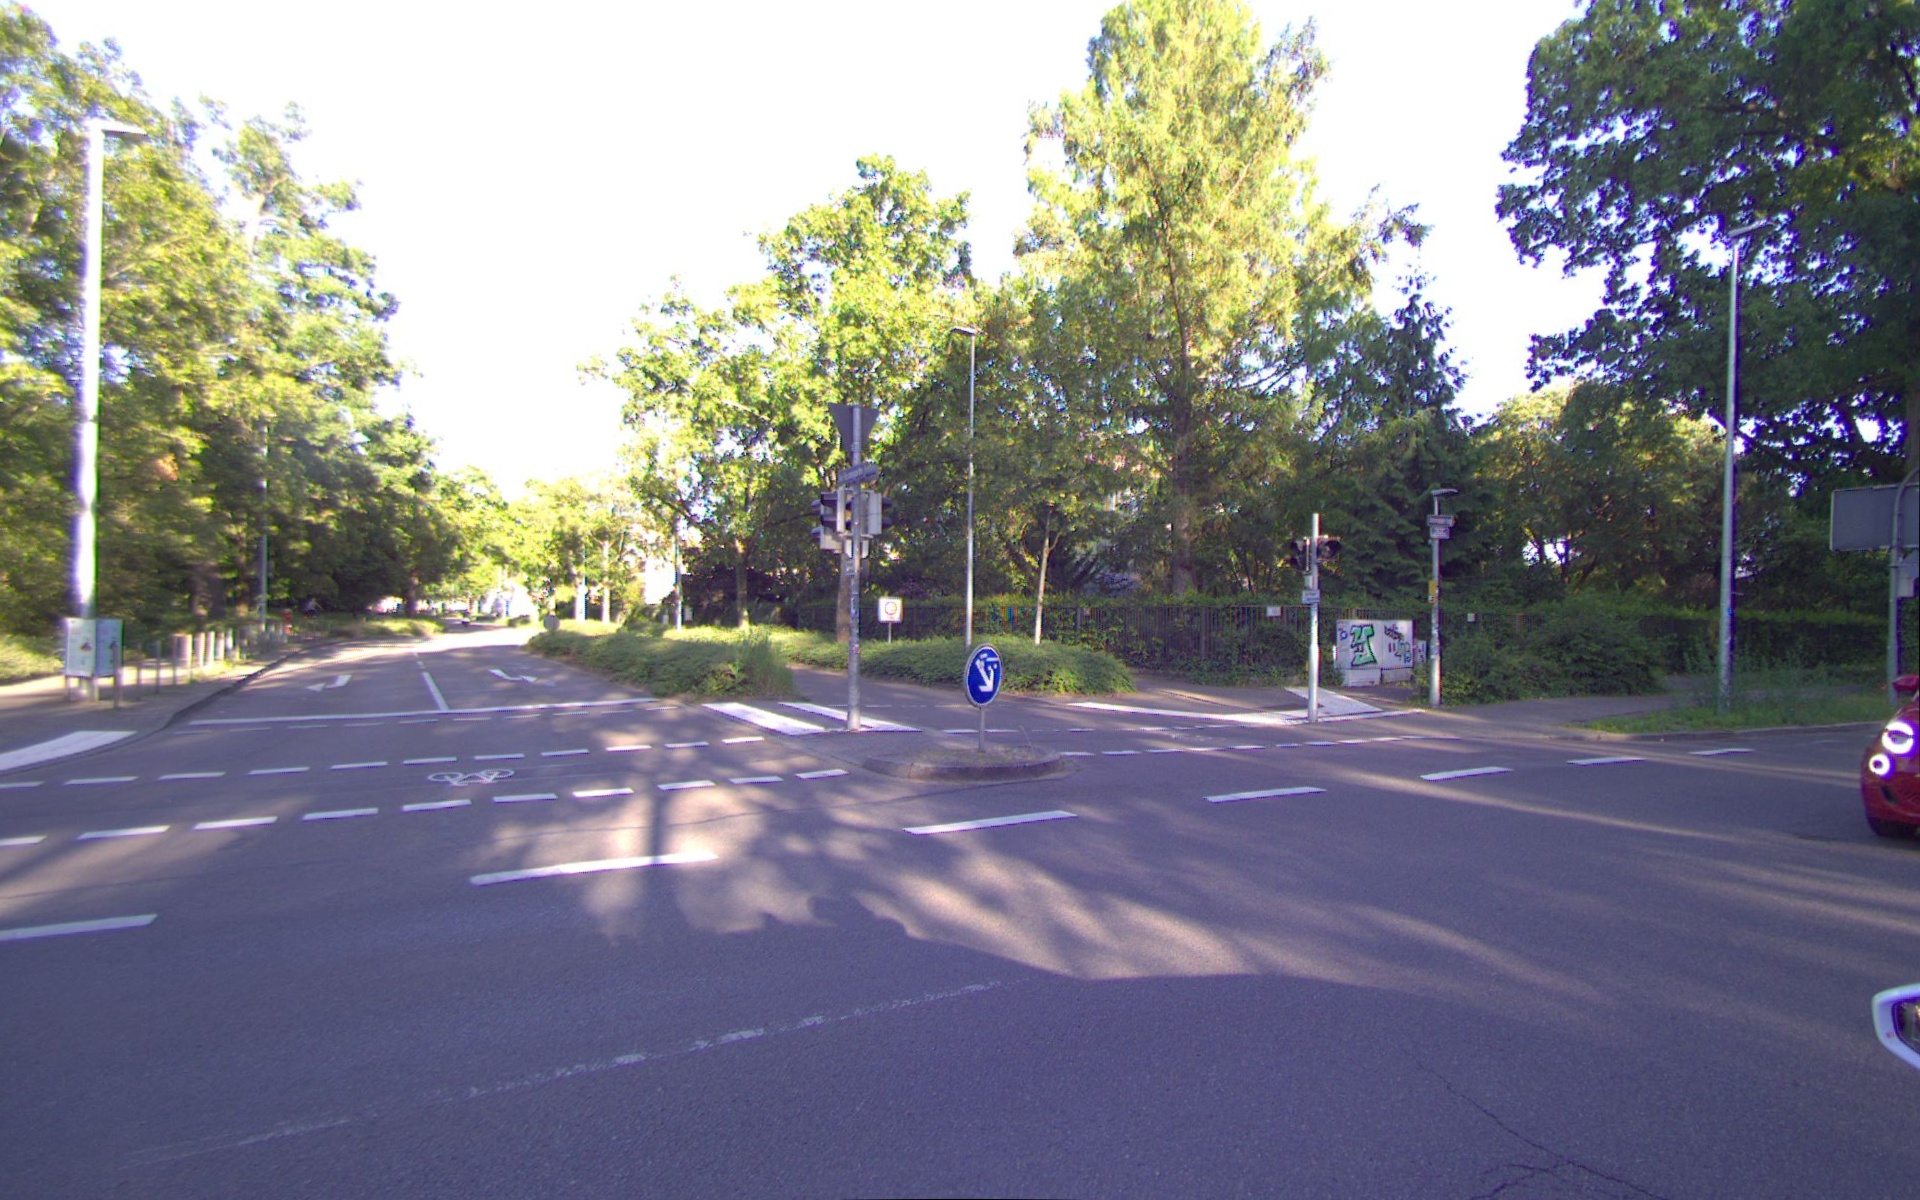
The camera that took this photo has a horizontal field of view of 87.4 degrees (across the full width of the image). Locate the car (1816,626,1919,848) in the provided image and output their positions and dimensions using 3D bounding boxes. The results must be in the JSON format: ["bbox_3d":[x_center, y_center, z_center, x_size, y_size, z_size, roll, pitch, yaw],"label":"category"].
[{"bbox_3d":[8.121,0.969,7.337,3.597,1.475,1.742,3,-4,-30],"label":"car"}]

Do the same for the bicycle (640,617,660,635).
[{"bbox_3d":[-21.808,1.810,70.747,0.869,1.216,2.324,0,0,-5],"label":"bicycle"}]
